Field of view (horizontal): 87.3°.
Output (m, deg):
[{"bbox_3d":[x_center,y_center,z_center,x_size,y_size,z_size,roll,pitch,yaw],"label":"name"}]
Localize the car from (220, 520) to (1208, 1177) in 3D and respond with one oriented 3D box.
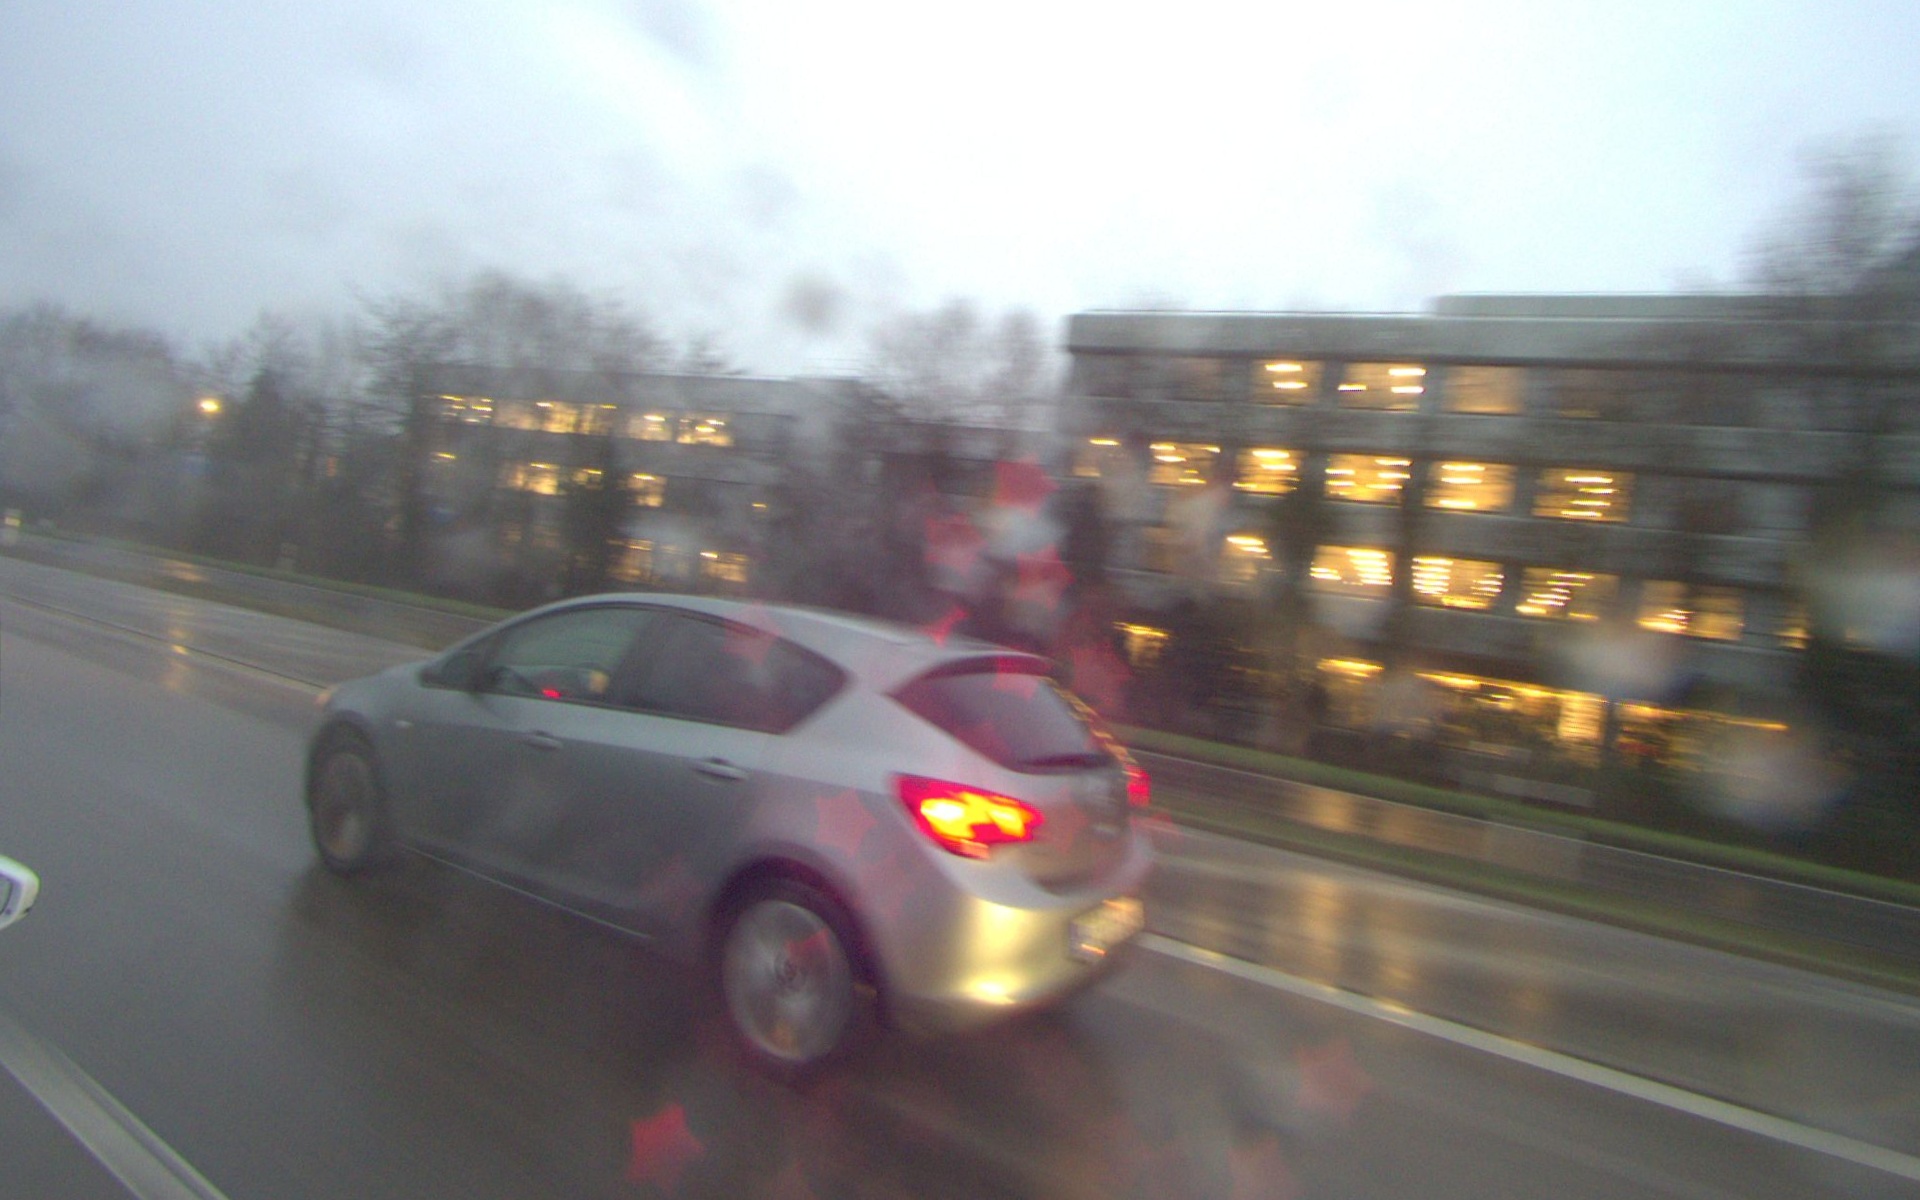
[{"bbox_3d":[-1.288,0.655,4.572,4.193,1.519,1.852,7,-2,33],"label":"car"}]
